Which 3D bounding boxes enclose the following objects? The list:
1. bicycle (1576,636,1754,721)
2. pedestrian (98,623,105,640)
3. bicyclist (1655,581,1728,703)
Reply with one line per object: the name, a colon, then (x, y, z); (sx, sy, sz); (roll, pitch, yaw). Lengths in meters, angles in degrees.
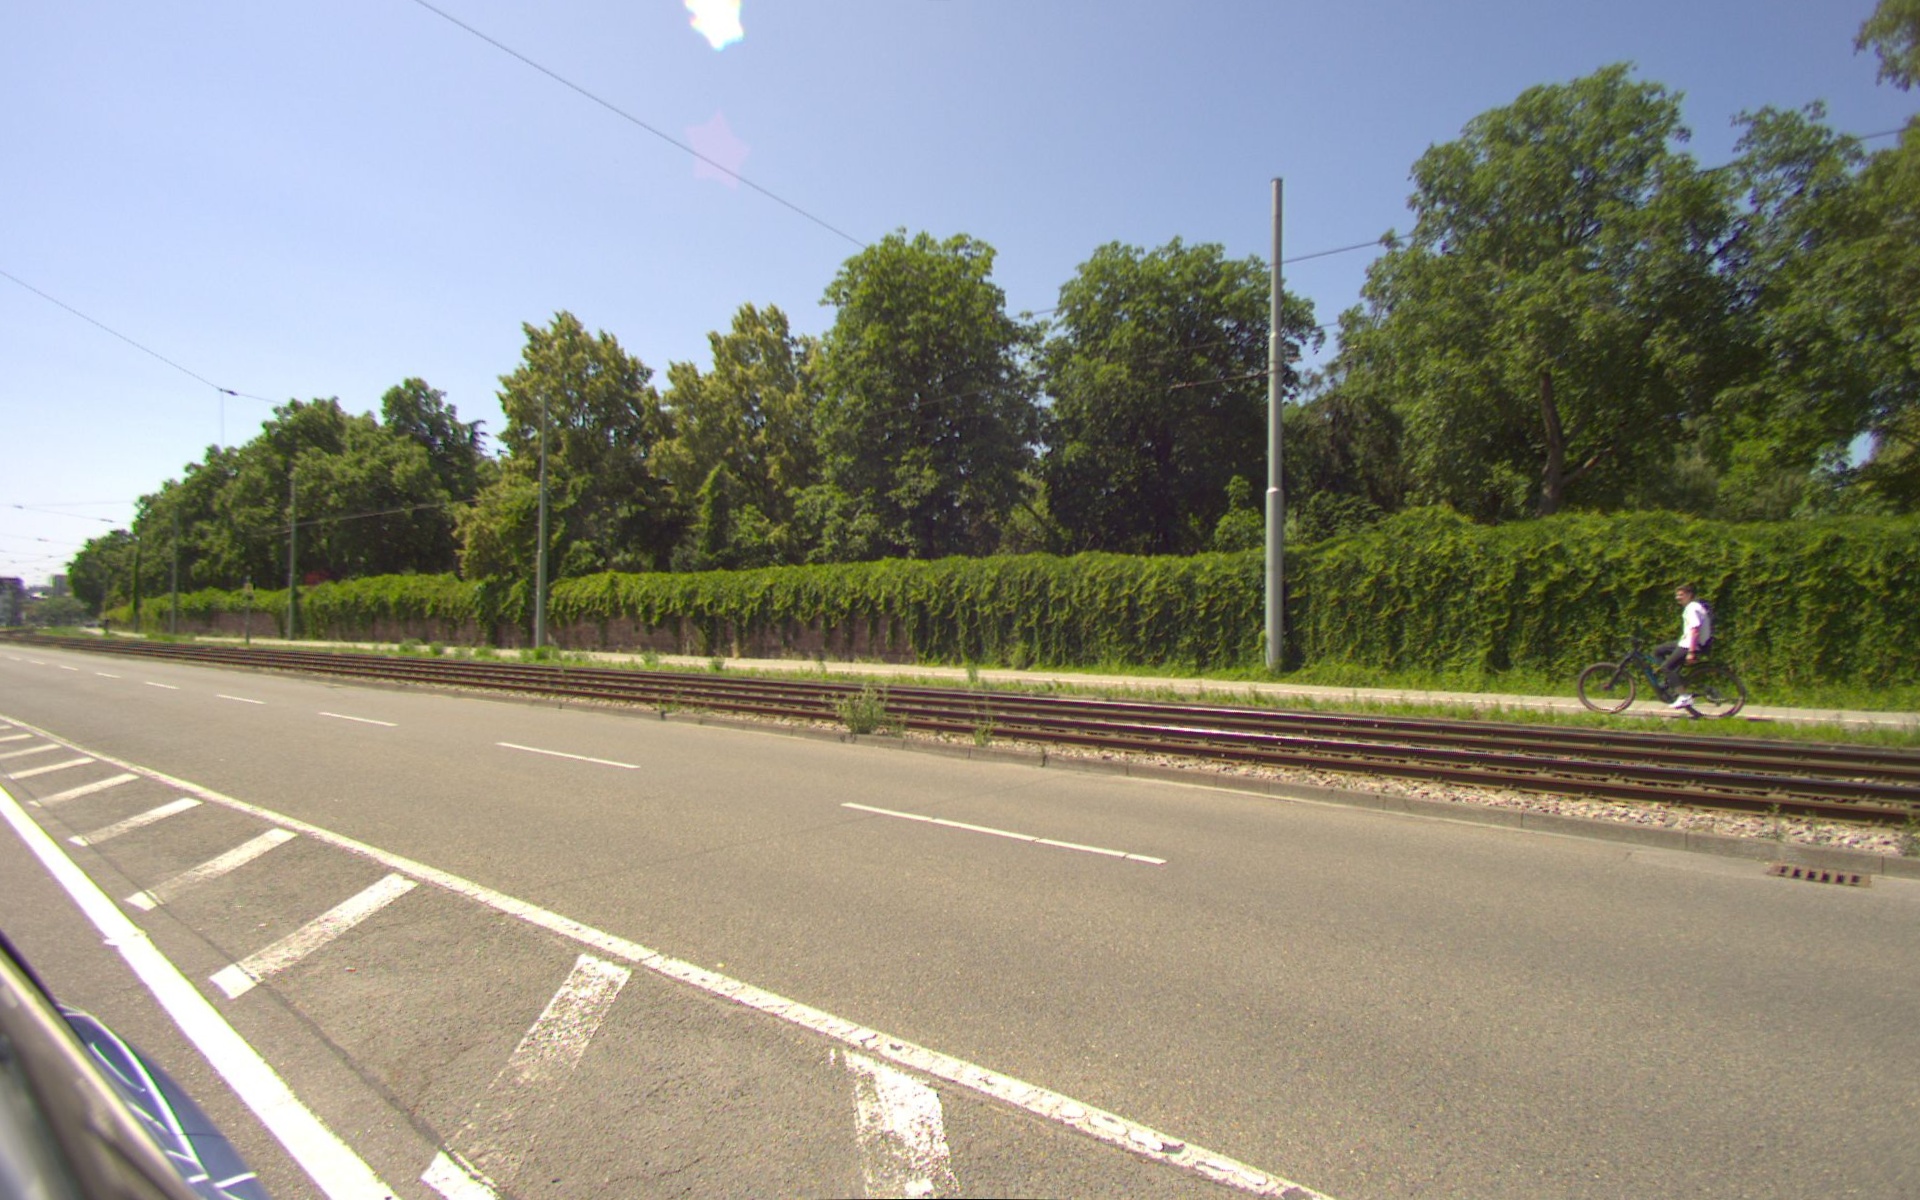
bicycle: (9.814, 1.064, 14.137); (1.977, 1.063, 0.610); (-1, 0, 41)
pedestrian: (-82.539, 3.018, 97.286); (0.302, 1.677, 0.447); (-2, -1, 41)
bicyclist: (10.052, 0.556, 13.909); (0.768, 1.624, 0.477); (-1, 0, 41)
